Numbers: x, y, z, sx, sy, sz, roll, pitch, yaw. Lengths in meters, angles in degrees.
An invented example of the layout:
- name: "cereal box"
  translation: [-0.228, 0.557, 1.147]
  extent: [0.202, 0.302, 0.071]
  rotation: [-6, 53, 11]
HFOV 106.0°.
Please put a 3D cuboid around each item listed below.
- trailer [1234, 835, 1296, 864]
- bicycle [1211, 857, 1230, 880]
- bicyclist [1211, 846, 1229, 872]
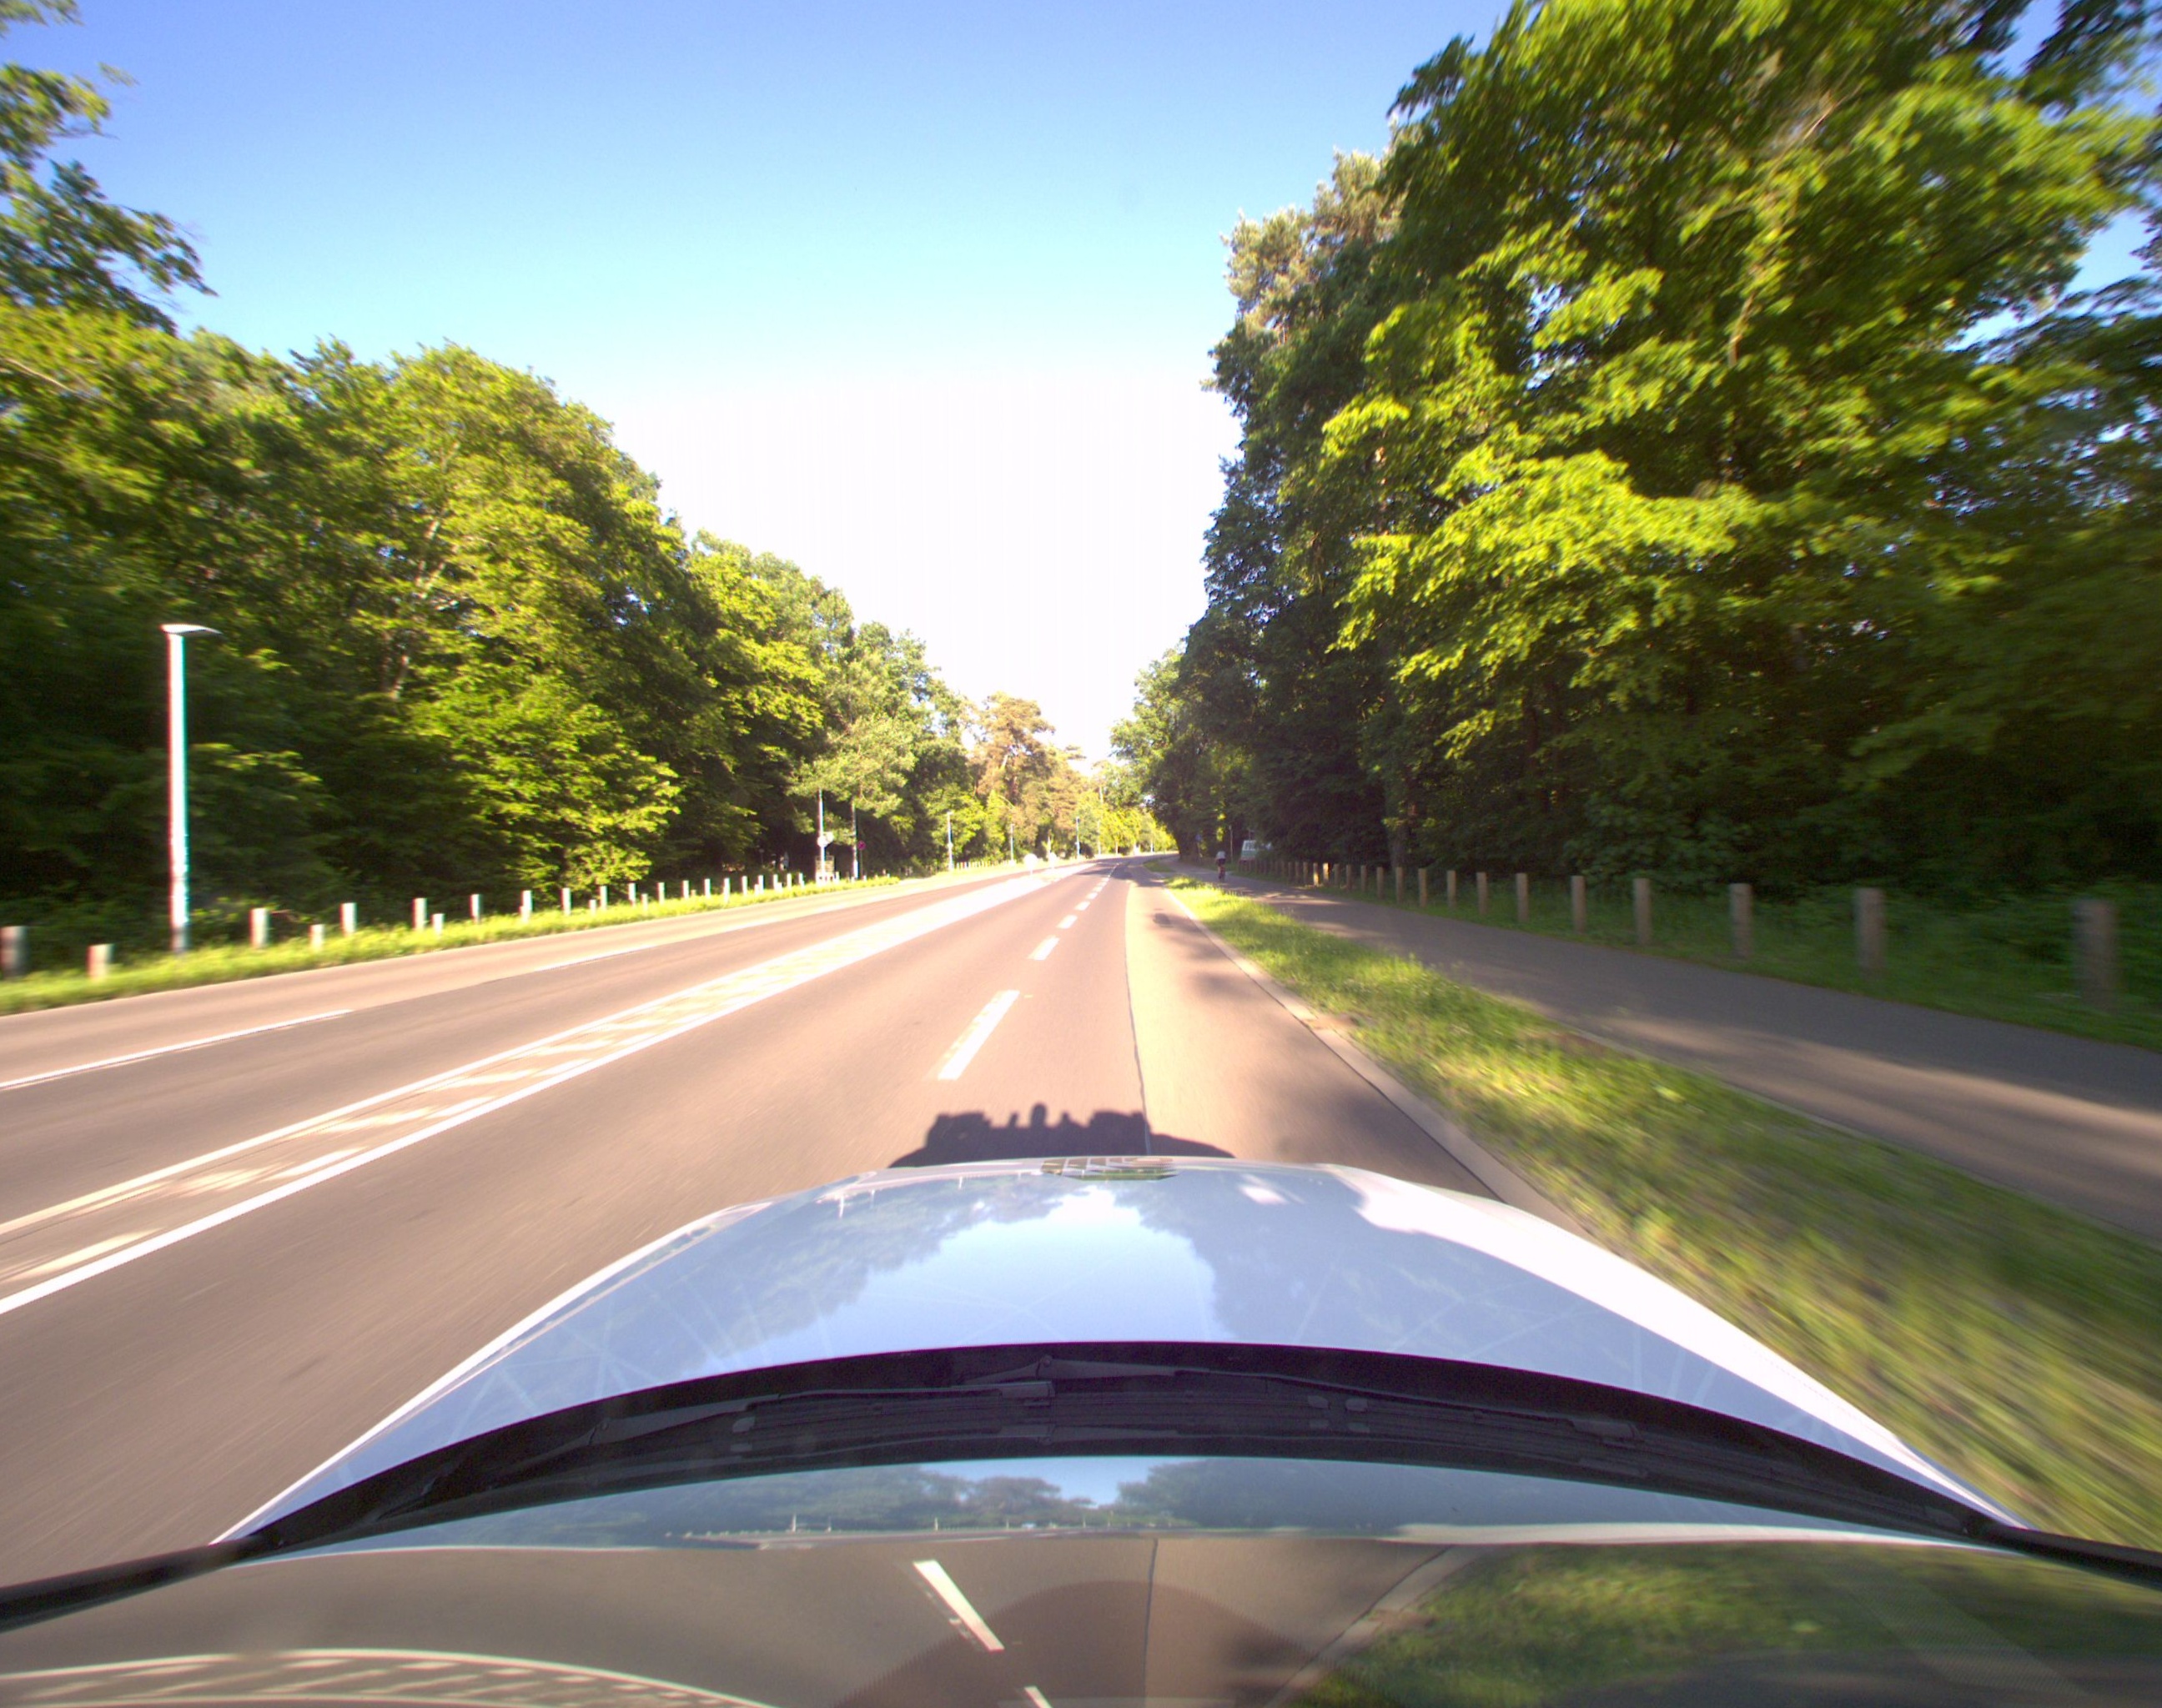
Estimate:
- name: "trailer"
  translation: [14.022, -0.313, 62.196]
  extent: [4.174, 2.021, 2.012]
  rotation: [-2, 0, 44]
- name: "bicycle"
  translation: [6.977, 0.720, 40.873]
  extent: [0.709, 1.055, 2.055]
  rotation: [-1, 0, 4]
- name: "bicyclist"
  translation: [6.968, 0.240, 40.856]
  extent: [0.709, 1.288, 1.105]
  rotation: [-1, 0, 3]
